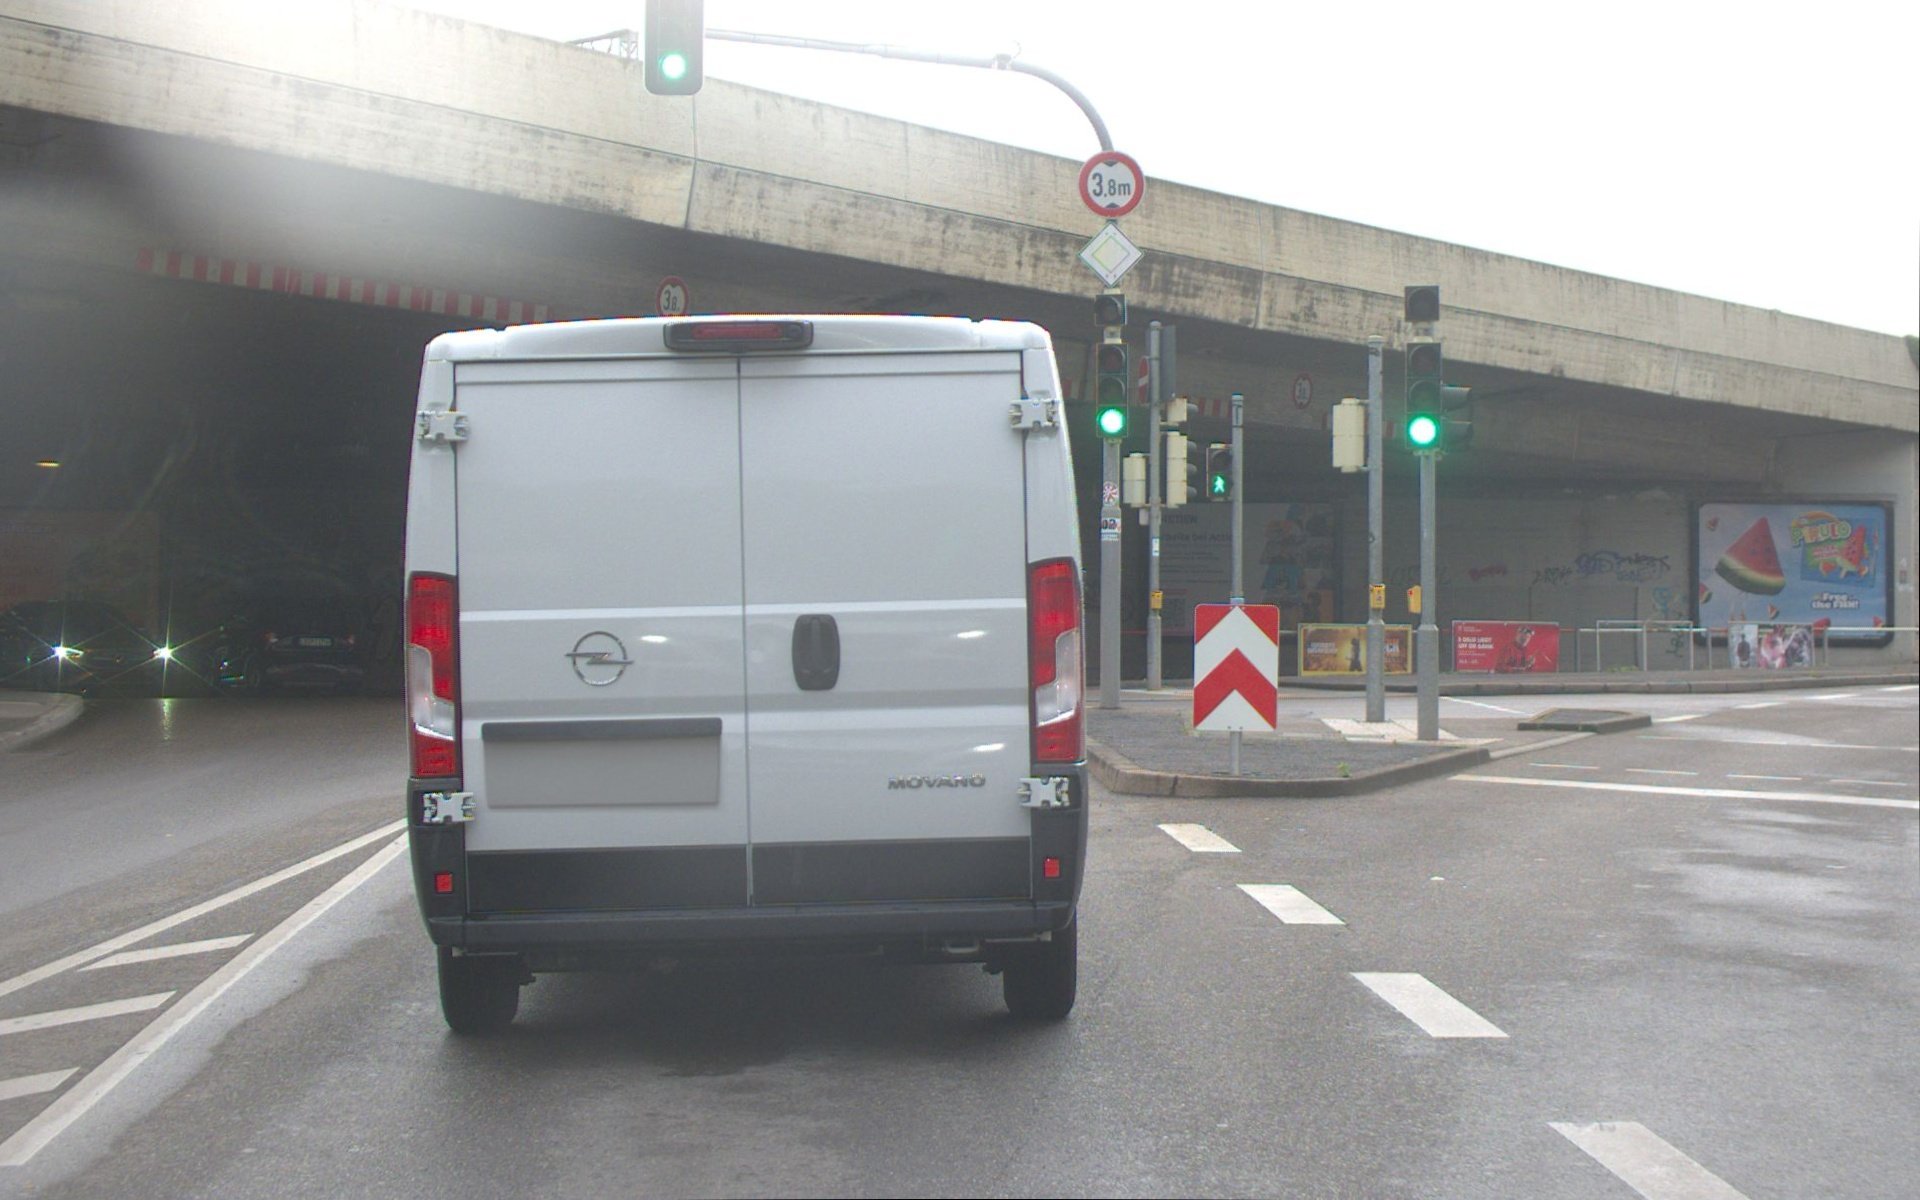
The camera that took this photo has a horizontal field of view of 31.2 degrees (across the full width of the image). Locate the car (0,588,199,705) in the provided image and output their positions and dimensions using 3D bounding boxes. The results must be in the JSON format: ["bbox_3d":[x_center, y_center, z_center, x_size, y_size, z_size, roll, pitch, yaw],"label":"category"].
[{"bbox_3d":[-12.755,0.640,49.725,1.993,1.525,4.500,1,1,-32],"label":"car"}]

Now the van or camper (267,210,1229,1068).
[{"bbox_3d":[-0.695,0.092,12.199,2.698,2.408,4.904,1,1,-2],"label":"van or camper"}]

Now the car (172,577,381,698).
[{"bbox_3d":[-10.479,0.542,52.528,1.993,1.744,4.000,0,1,-29],"label":"car"}]
